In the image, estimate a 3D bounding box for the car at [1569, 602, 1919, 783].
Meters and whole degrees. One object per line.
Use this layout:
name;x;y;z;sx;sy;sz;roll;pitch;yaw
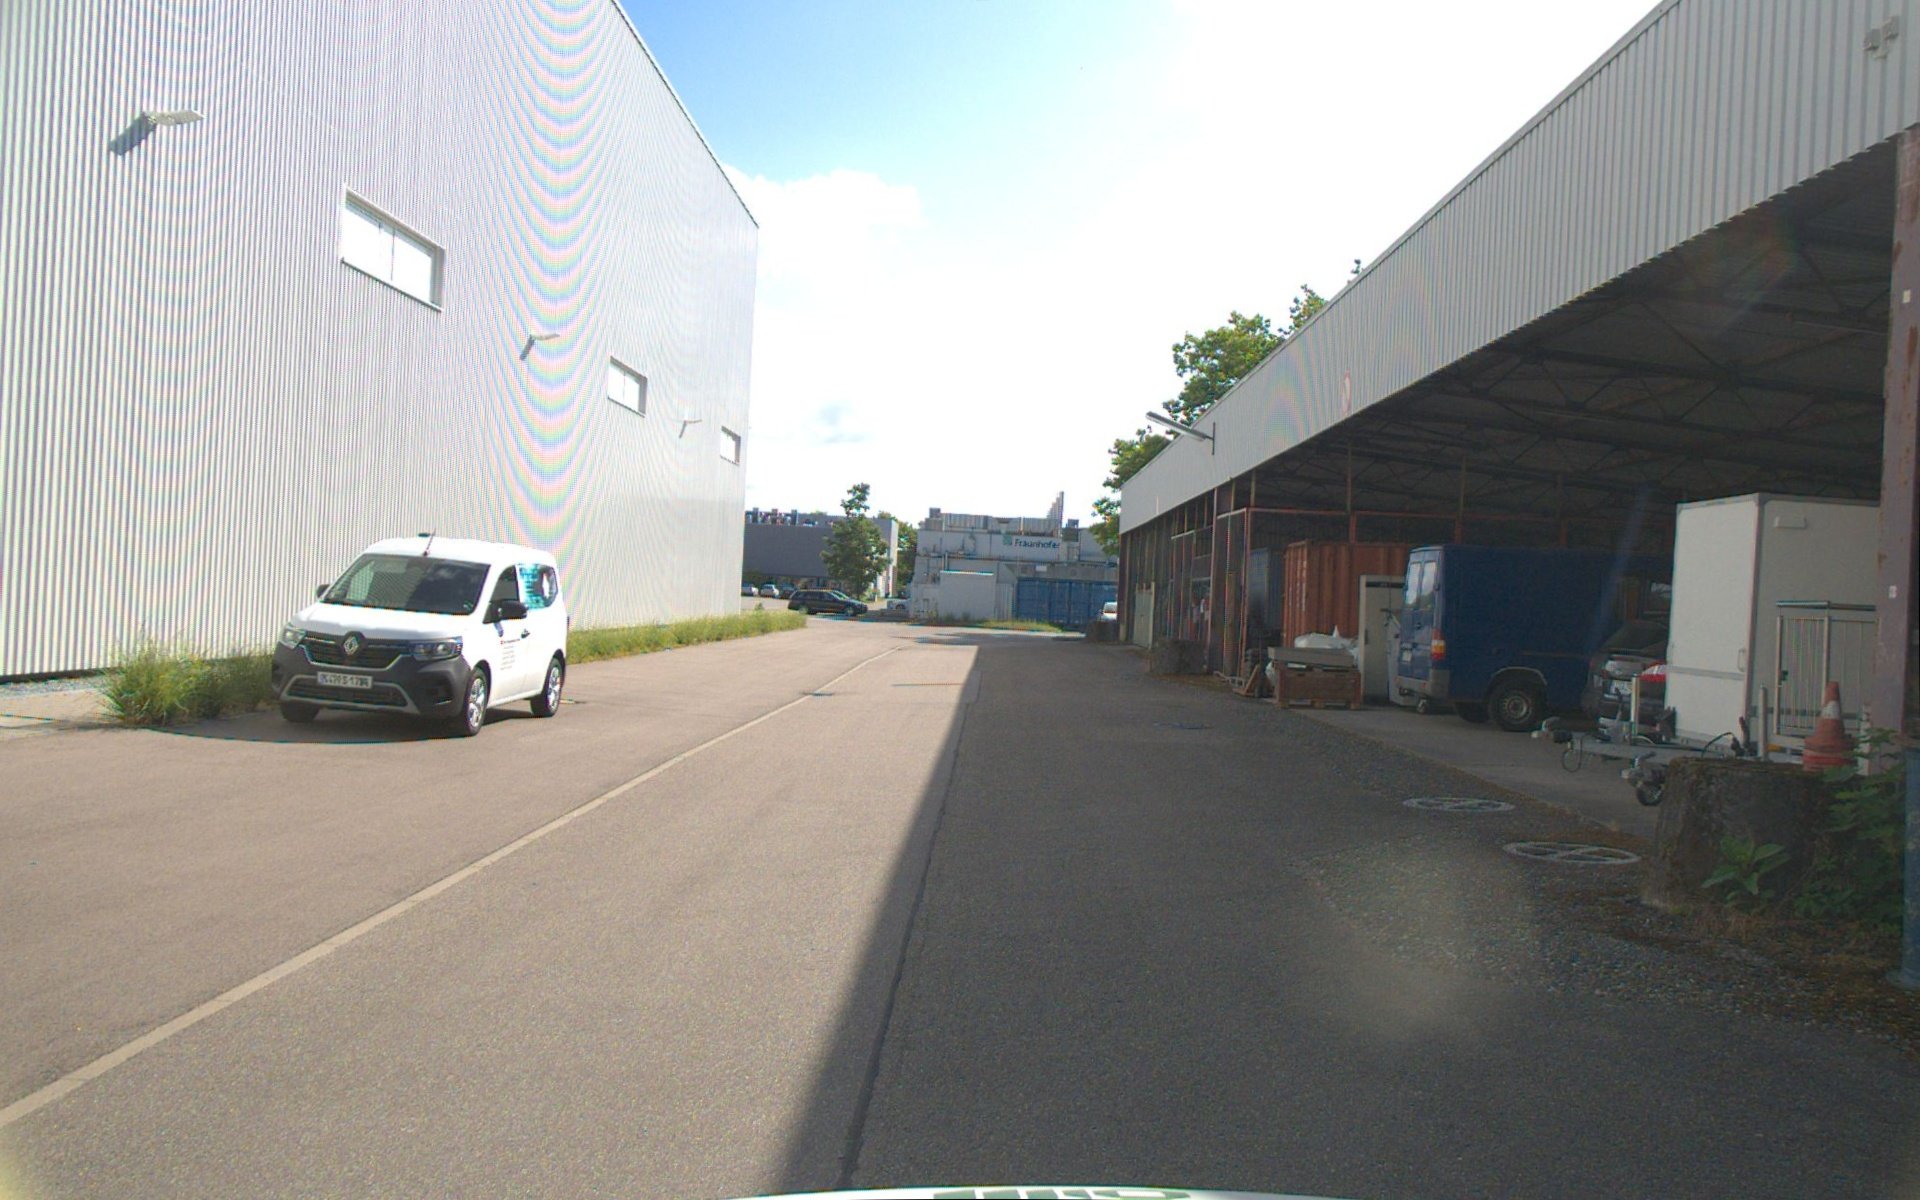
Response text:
car;8.180;0.849;15.540;4.241;1.522;1.777;2;0;-2

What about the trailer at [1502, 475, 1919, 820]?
trailer;6.890;0.371;12.912;4.711;2.433;1.828;2;0;6

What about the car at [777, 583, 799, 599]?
car;-20.200;-1.058;194.367;2.148;1.766;4.000;1;0;0

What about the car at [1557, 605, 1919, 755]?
car;9.029;0.878;18.660;3.908;1.498;1.787;2;0;-4

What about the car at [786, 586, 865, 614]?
car;-8.011;0.008;98.784;4.432;1.534;1.909;2;0;3

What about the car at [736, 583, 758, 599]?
car;-25.215;-1.068;195.792;1.952;1.766;4.000;1;0;0

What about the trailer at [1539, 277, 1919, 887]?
trailer;9.066;0.035;10.344;9.831;3.272;2.854;2;0;1

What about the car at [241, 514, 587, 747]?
car;-5.238;0.257;16.556;1.852;1.877;4.359;5;0;0

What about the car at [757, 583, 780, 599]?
car;-22.676;-1.058;196.106;2.148;1.766;4.000;1;0;0

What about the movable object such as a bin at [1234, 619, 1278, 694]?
movable object such as a bin;4.888;0.918;27.352;0.569;1.185;1.239;2;0;5

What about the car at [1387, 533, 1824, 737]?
car;8.305;0.433;21.633;4.876;2.366;2.000;2;0;1

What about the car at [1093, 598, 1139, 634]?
car;8.059;0.817;85.837;1.953;1.613;4.173;2;2;0

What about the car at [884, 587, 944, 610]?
car;-3.470;-0.122;126.335;4.432;1.534;1.909;2;0;2
